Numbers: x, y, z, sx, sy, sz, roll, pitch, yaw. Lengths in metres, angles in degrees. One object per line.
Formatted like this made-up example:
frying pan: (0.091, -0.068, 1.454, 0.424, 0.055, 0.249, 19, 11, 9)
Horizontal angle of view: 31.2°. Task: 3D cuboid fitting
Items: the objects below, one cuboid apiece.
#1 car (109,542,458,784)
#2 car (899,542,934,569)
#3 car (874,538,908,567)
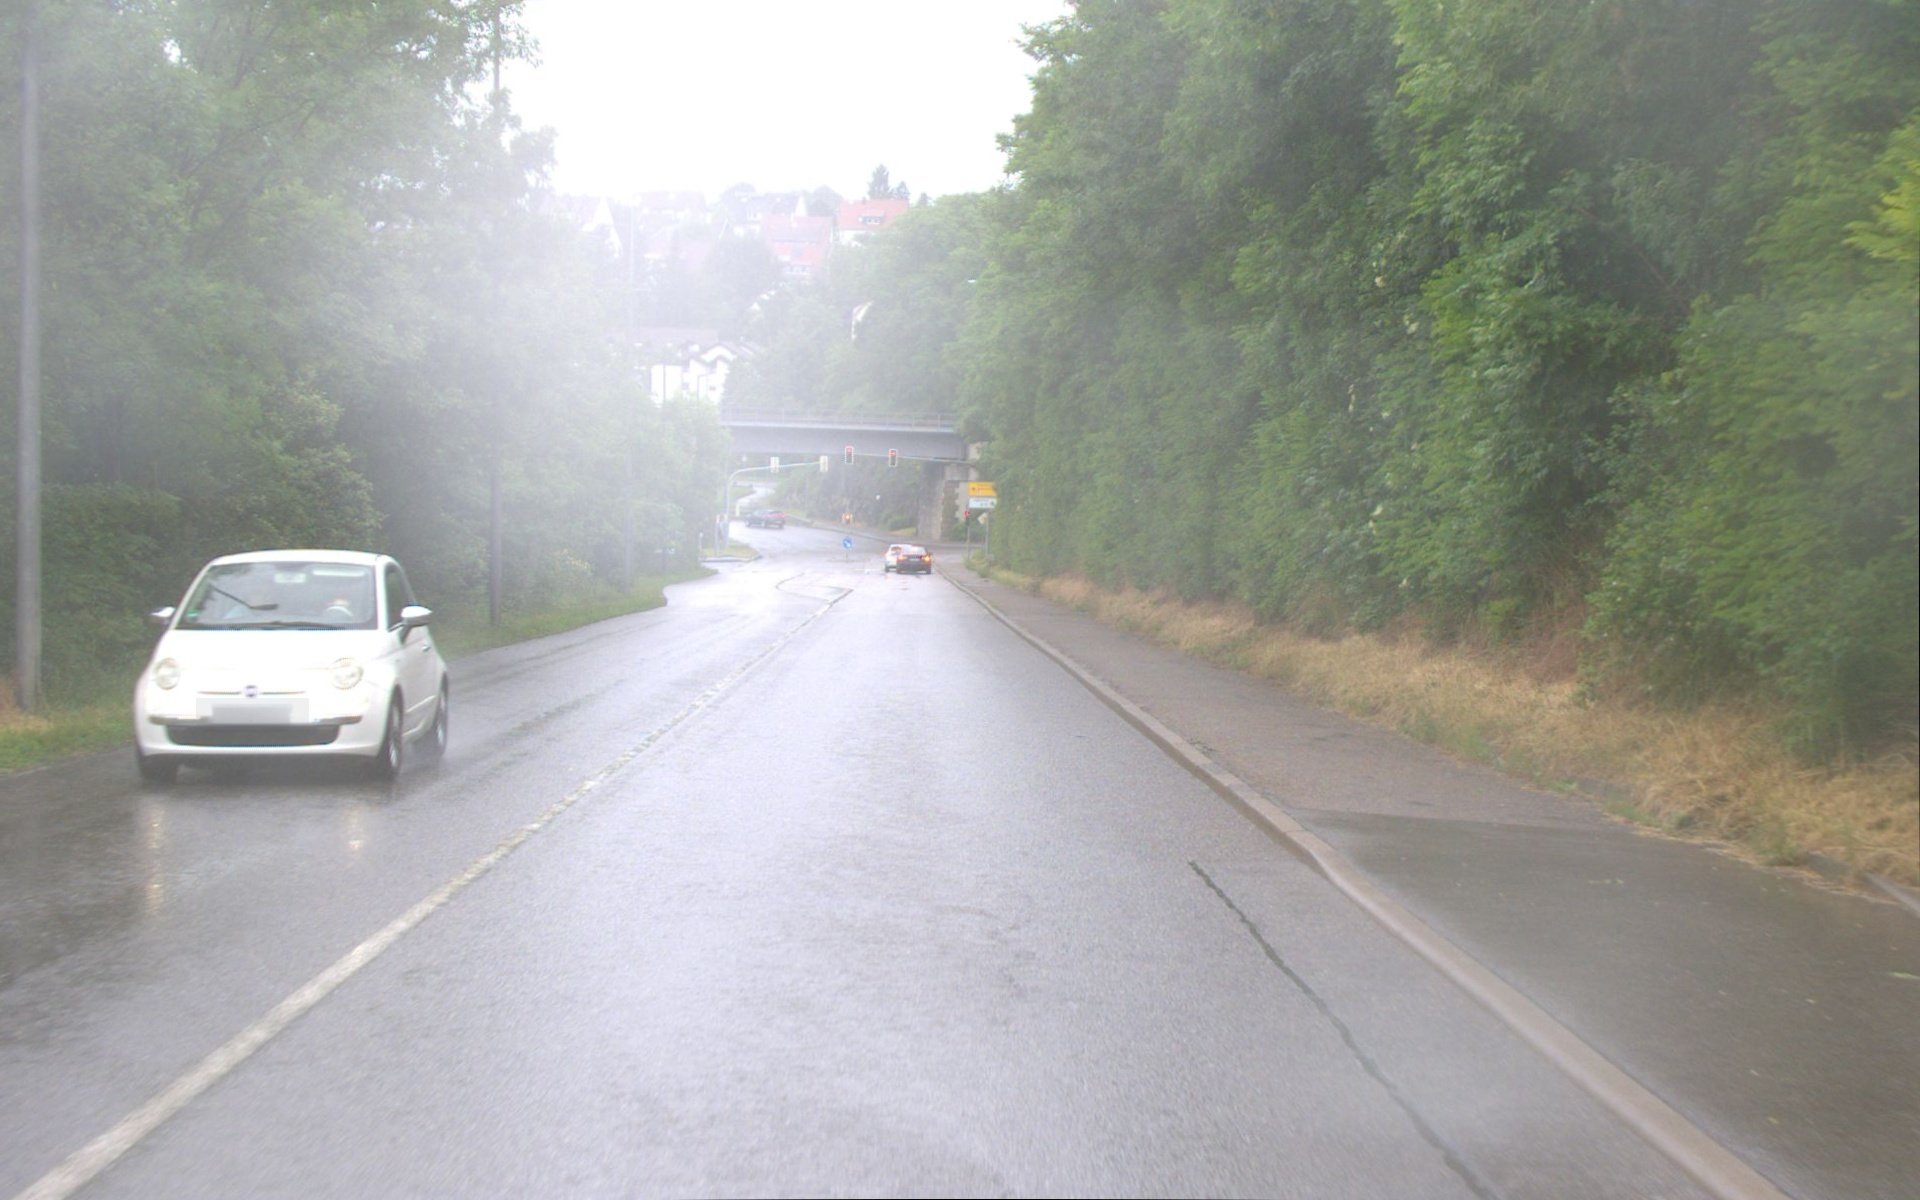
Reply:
car: (-4.400, 0.364, 22.805, 1.639, 1.483, 3.454, 0, 1, 0)
car: (-2.217, -2.281, 177.071, 1.768, 1.375, 4.000, 0, 1, 0)
car: (-3.662, -2.545, 183.866, 1.768, 1.557, 4.000, 0, 1, 0)
